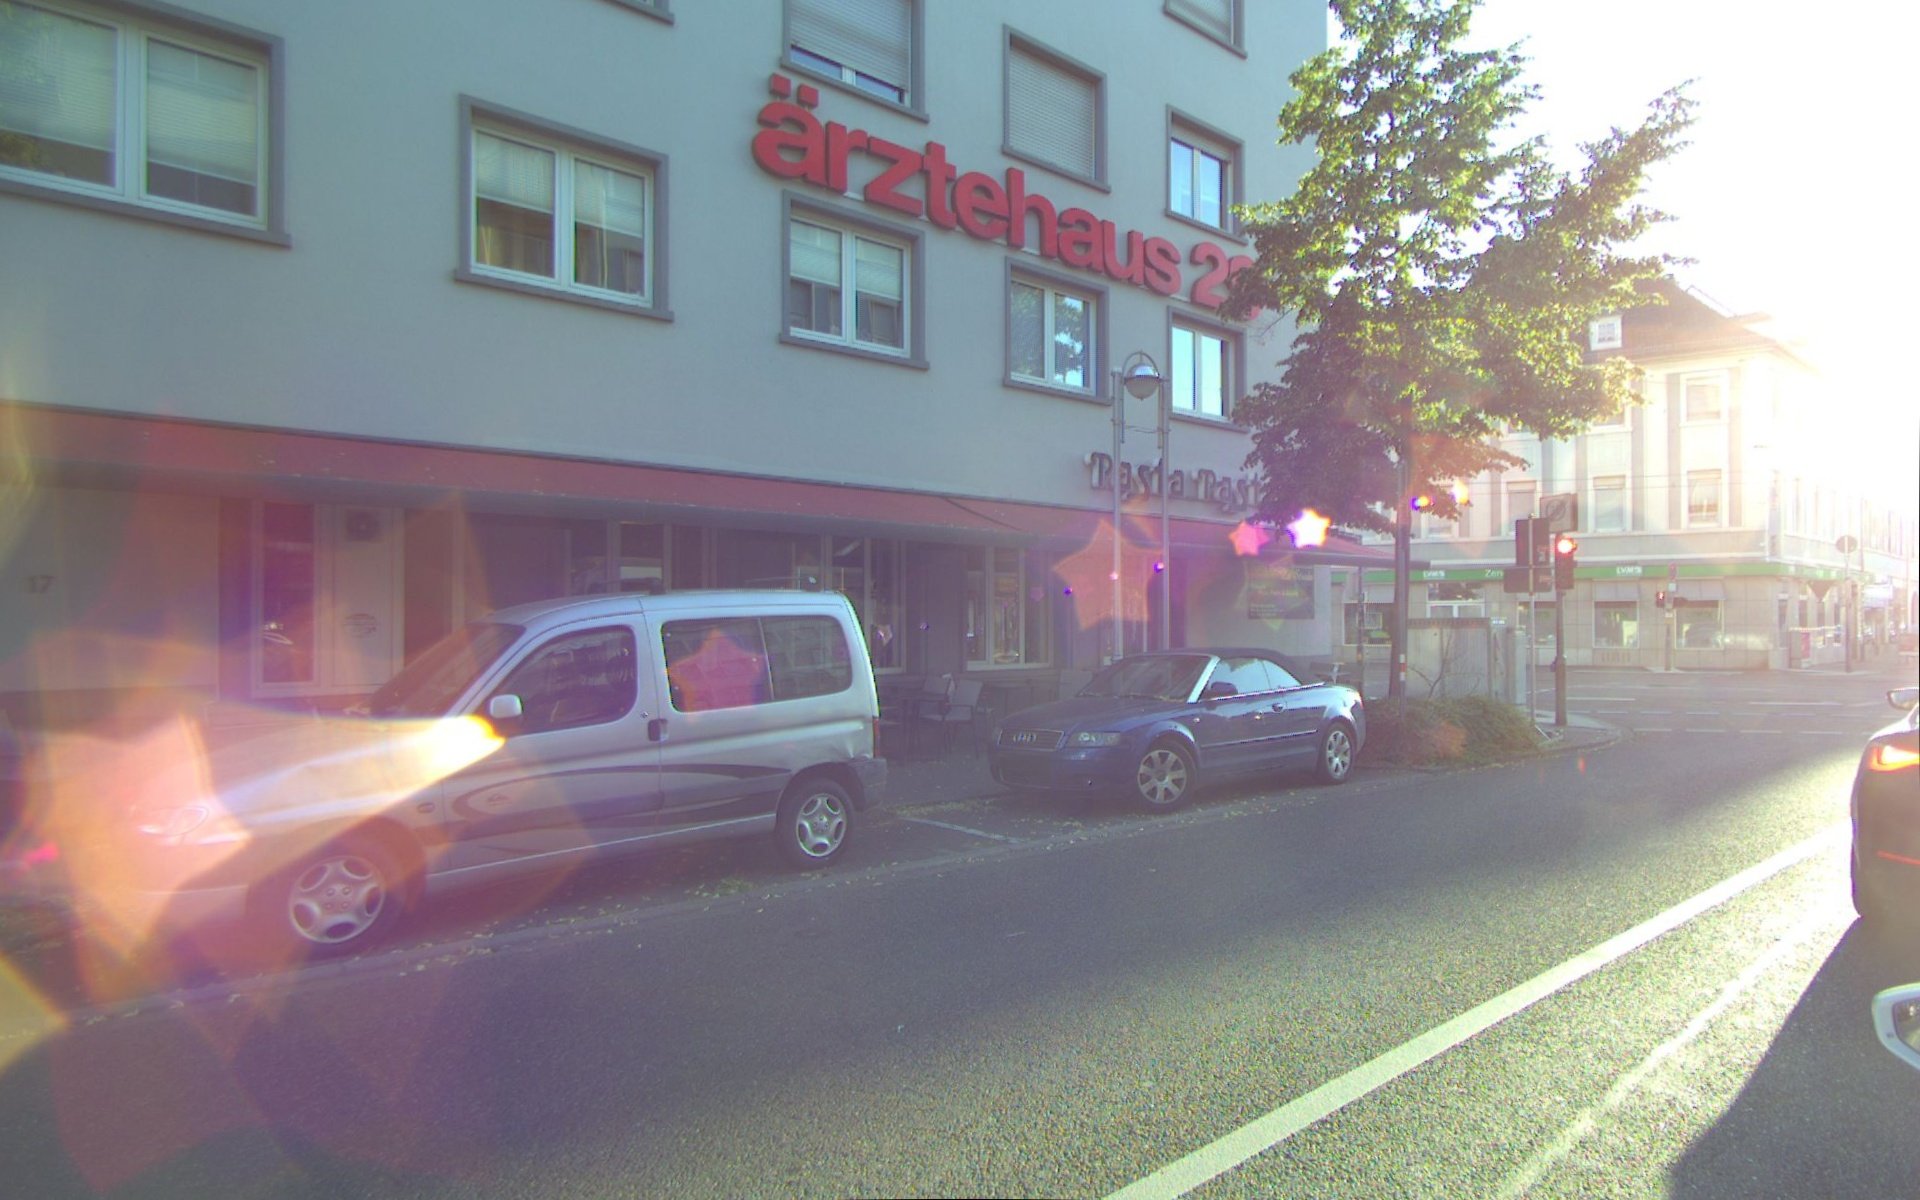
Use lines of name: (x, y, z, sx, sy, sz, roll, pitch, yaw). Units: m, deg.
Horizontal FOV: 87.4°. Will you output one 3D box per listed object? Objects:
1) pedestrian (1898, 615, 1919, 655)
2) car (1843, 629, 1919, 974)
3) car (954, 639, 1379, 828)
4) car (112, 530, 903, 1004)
pedestrian: (46.290, 1.706, 49.029, 0.626, 1.901, 0.638, 1, 0, -38)
car: (6.067, 0.894, 5.106, 4.188, 1.447, 1.723, 1, -1, -39)
car: (2.125, 1.119, 9.694, 4.244, 1.434, 1.710, 2, -4, -39)
car: (-2.440, 0.757, 6.034, 4.022, 1.912, 1.655, 2, -4, -41)
